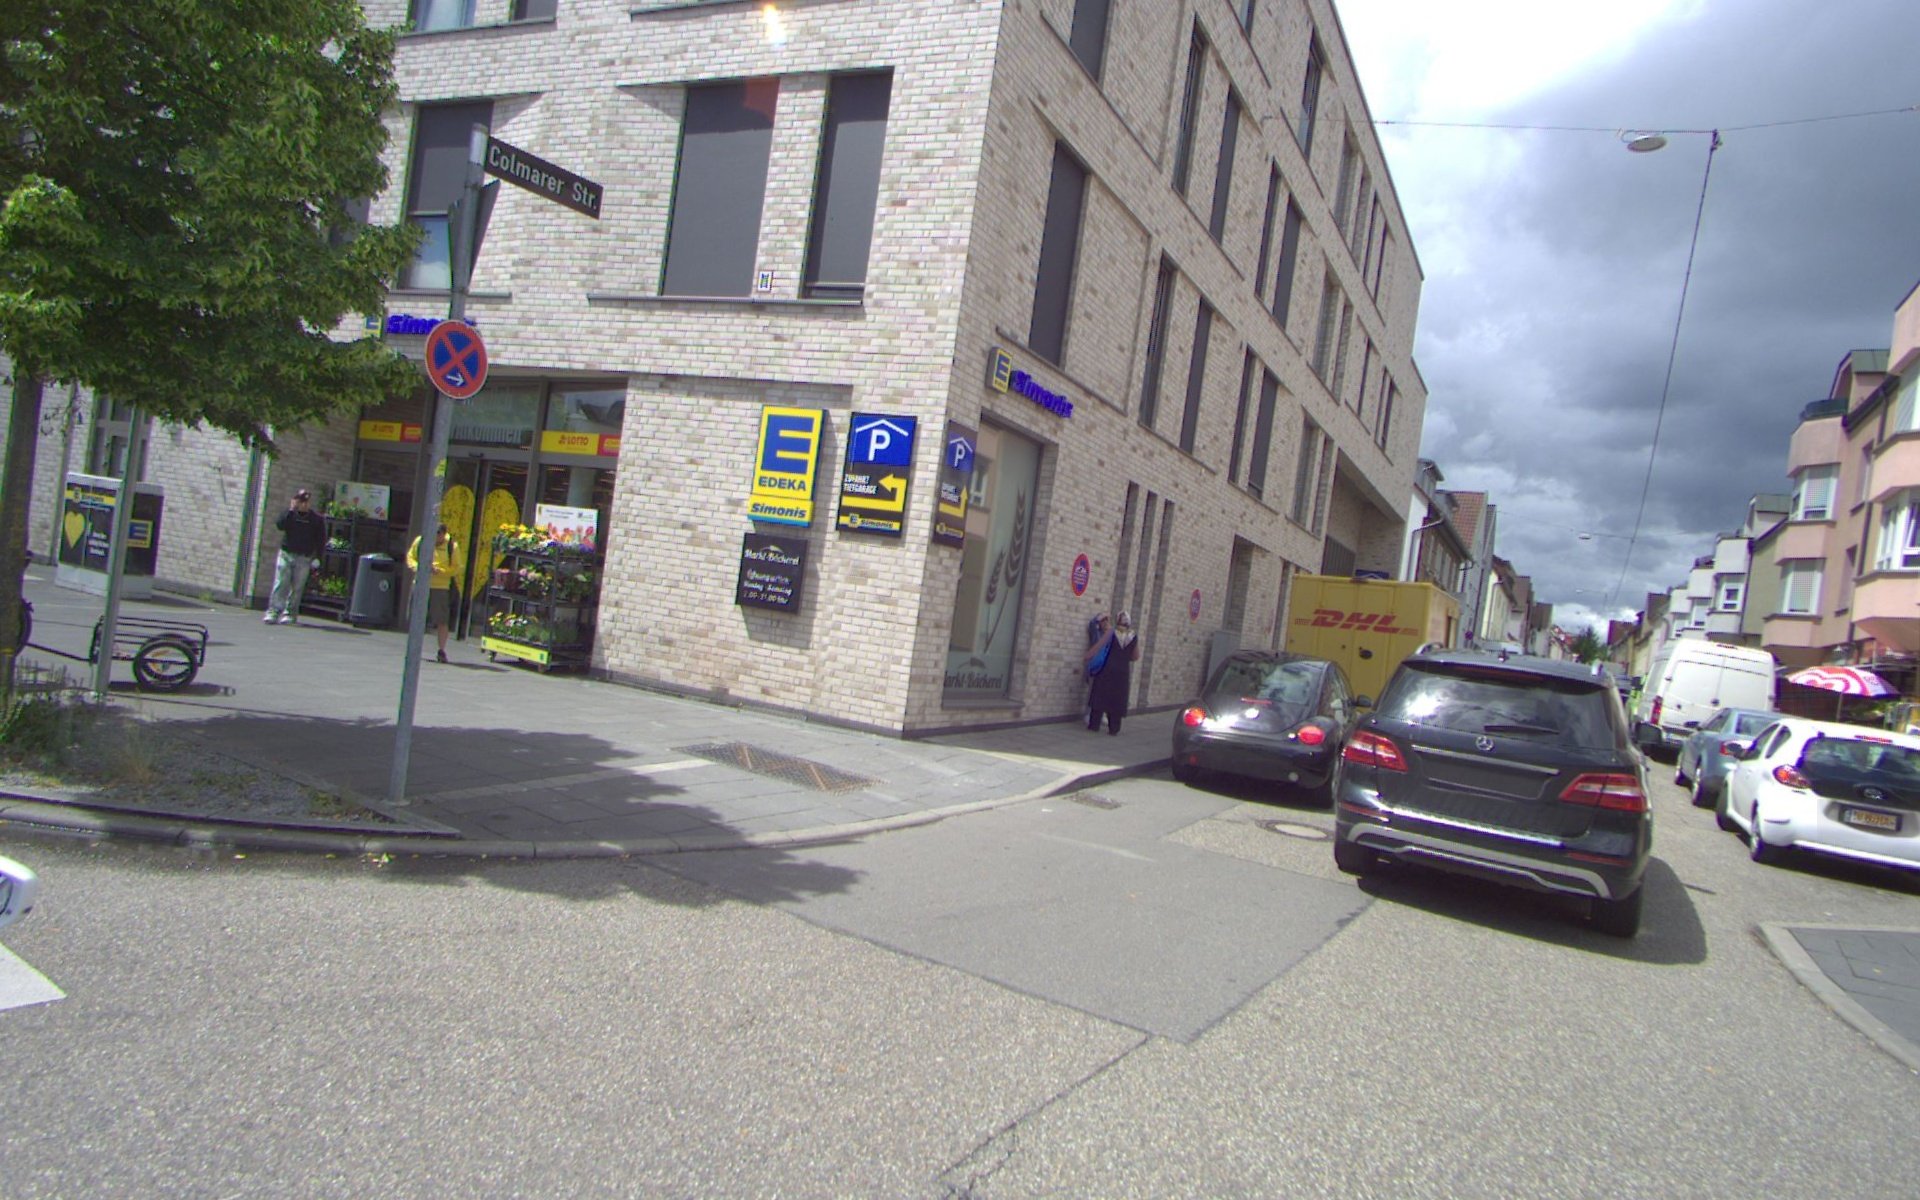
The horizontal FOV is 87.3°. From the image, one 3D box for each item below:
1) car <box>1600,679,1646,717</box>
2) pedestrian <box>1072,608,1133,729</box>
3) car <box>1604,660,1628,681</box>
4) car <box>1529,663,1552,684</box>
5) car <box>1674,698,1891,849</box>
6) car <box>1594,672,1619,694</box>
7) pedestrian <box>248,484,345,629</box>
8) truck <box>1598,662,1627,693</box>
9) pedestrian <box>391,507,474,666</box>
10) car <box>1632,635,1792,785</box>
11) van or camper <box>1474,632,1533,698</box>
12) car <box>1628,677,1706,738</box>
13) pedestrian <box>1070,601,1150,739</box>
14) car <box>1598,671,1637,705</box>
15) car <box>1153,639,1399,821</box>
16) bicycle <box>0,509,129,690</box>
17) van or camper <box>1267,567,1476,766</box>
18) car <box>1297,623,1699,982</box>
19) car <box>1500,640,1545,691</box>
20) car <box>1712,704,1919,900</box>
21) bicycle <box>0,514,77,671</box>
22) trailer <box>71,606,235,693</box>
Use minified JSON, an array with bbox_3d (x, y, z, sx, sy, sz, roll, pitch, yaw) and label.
[{"bbox_3d":[31.739,4.671,48.251,1.605,1.495,3.767,8,1,33],"label":"car"},{"bbox_3d":[1.973,0.944,13.988,0.592,1.591,0.523,7,-1,1],"label":"pedestrian"},{"bbox_3d":[60.041,6.477,92.043,1.605,1.662,3.767,8,1,33],"label":"car"},{"bbox_3d":[62.381,7.910,108.120,1.841,1.969,3.851,6,-3,32],"label":"car"},{"bbox_3d":[11.678,2.351,14.574,1.802,1.495,4.012,8,1,33],"label":"car"},{"bbox_3d":[55.185,7.066,85.867,1.605,1.662,3.767,8,1,33],"label":"car"},{"bbox_3d":[-8.732,-0.576,13.232,1.003,1.763,0.657,8,1,40],"label":"pedestrian"},{"bbox_3d":[50.722,6.025,78.247,1.605,2.162,5.376,8,1,33],"label":"truck"},{"bbox_3d":[-6.069,-0.158,11.587,0.652,1.713,0.627,7,1,-28],"label":"pedestrian"},{"bbox_3d":[16.305,2.302,22.144,2.092,2.586,5.889,8,1,33],"label":"car"},{"bbox_3d":[26.719,3.228,49.363,2.020,2.738,5.157,6,-2,32],"label":"van or camper"},{"bbox_3d":[21.366,3.206,30.512,1.605,1.495,3.767,8,1,33],"label":"car"},{"bbox_3d":[1.979,0.920,13.350,0.801,1.690,0.556,7,-1,1],"label":"pedestrian"},{"bbox_3d":[37.574,5.025,57.536,1.605,1.662,3.767,8,1,33],"label":"car"},{"bbox_3d":[3.808,1.367,11.651,1.753,1.495,3.899,8,1,30],"label":"car"},{"bbox_3d":[-6.953,-0.047,6.806,0.743,1.216,1.826,7,0,28],"label":"bicycle"},{"bbox_3d":[7.713,1.133,18.268,2.239,2.771,6.860,6,0,31],"label":"van or camper"},{"bbox_3d":[4.411,1.293,8.017,1.968,1.768,4.519,8,1,34],"label":"car"},{"bbox_3d":[35.080,4.117,62.639,2.020,2.738,4.712,6,-2,32],"label":"car"},{"bbox_3d":[9.340,2.033,10.734,1.690,1.495,3.383,8,1,33],"label":"car"},{"bbox_3d":[-7.669,-0.116,7.193,0.743,1.145,1.826,7,0,28],"label":"bicycle"},{"bbox_3d":[-6.231,0.385,7.773,0.798,0.535,0.721,7,-1,31],"label":"trailer"}]
